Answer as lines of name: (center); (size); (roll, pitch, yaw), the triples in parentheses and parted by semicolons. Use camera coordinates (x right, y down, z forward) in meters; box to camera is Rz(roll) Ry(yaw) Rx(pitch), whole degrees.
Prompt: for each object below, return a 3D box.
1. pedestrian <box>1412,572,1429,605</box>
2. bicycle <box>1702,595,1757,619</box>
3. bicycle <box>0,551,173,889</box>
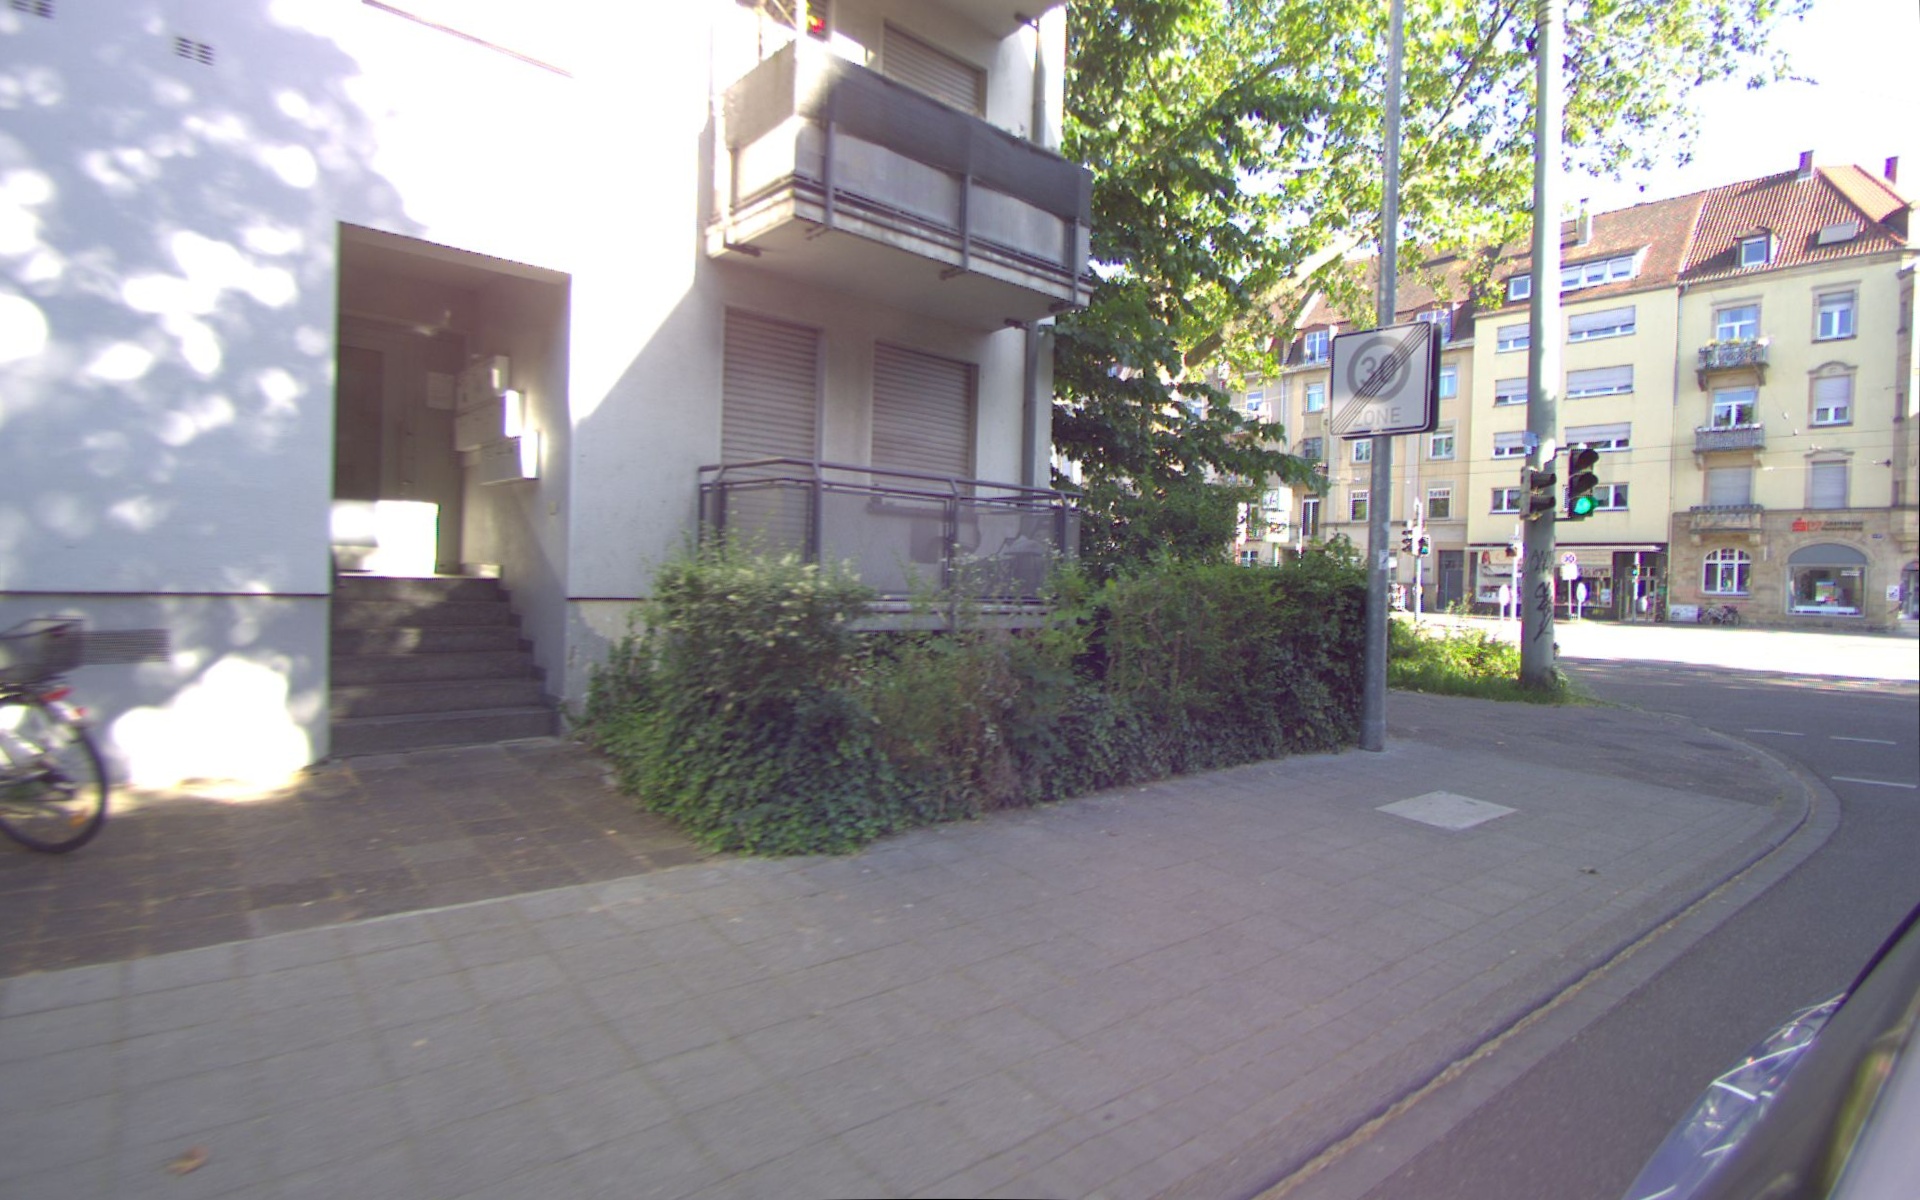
pedestrian: (25.905, -0.621, 56.932); (0.695, 1.825, 0.521); (1, 1, -38)
bicycle: (35.370, 0.321, 46.545); (0.508, 0.987, 1.951); (-2, 3, -40)
bicycle: (-4.218, 0.406, 4.149); (1.552, 1.201, 0.643); (4, 3, 7)
